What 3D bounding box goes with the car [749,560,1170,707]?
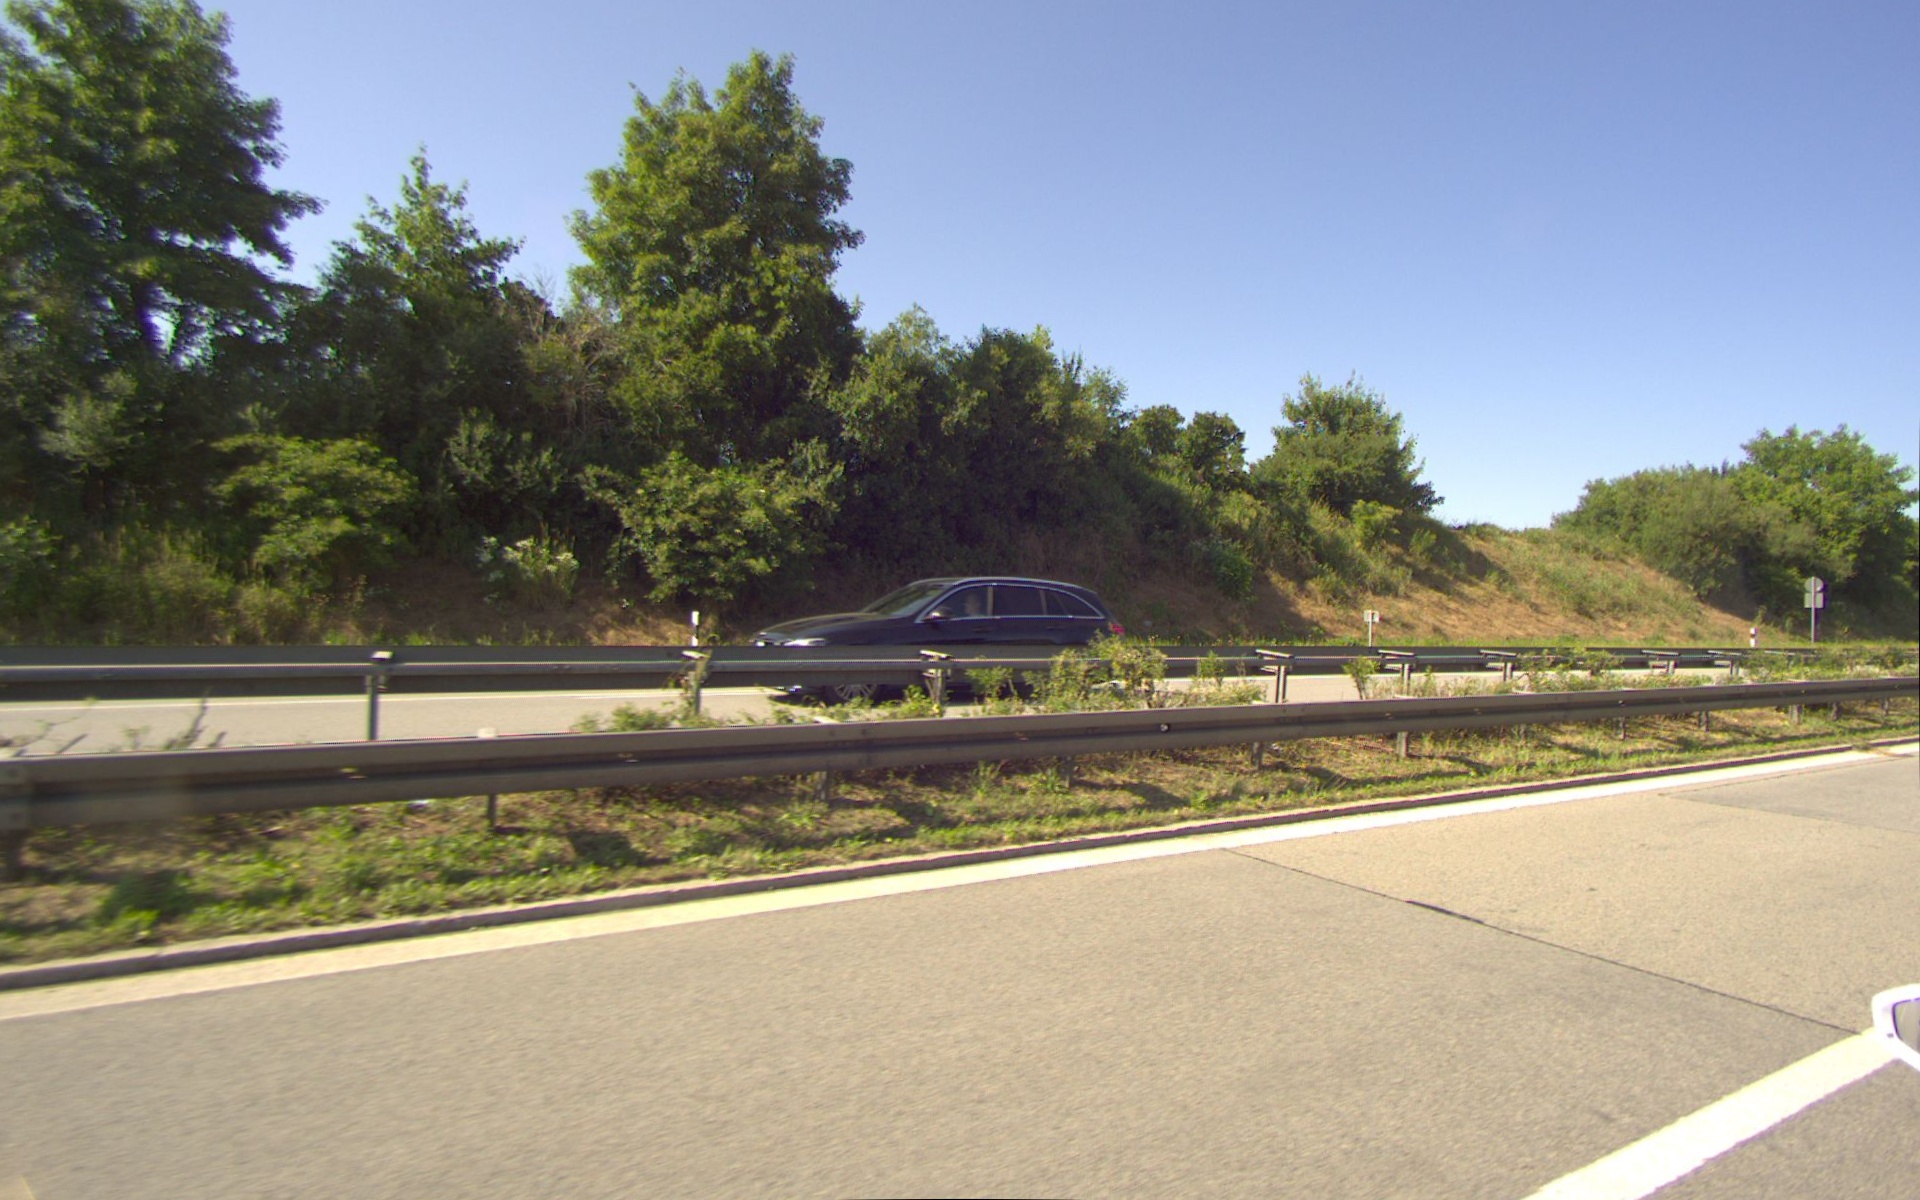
[{"bbox_3d":[0.105,0.433,12.000,4.850,1.474,1.637,3,-1,-31],"label":"car"}]
